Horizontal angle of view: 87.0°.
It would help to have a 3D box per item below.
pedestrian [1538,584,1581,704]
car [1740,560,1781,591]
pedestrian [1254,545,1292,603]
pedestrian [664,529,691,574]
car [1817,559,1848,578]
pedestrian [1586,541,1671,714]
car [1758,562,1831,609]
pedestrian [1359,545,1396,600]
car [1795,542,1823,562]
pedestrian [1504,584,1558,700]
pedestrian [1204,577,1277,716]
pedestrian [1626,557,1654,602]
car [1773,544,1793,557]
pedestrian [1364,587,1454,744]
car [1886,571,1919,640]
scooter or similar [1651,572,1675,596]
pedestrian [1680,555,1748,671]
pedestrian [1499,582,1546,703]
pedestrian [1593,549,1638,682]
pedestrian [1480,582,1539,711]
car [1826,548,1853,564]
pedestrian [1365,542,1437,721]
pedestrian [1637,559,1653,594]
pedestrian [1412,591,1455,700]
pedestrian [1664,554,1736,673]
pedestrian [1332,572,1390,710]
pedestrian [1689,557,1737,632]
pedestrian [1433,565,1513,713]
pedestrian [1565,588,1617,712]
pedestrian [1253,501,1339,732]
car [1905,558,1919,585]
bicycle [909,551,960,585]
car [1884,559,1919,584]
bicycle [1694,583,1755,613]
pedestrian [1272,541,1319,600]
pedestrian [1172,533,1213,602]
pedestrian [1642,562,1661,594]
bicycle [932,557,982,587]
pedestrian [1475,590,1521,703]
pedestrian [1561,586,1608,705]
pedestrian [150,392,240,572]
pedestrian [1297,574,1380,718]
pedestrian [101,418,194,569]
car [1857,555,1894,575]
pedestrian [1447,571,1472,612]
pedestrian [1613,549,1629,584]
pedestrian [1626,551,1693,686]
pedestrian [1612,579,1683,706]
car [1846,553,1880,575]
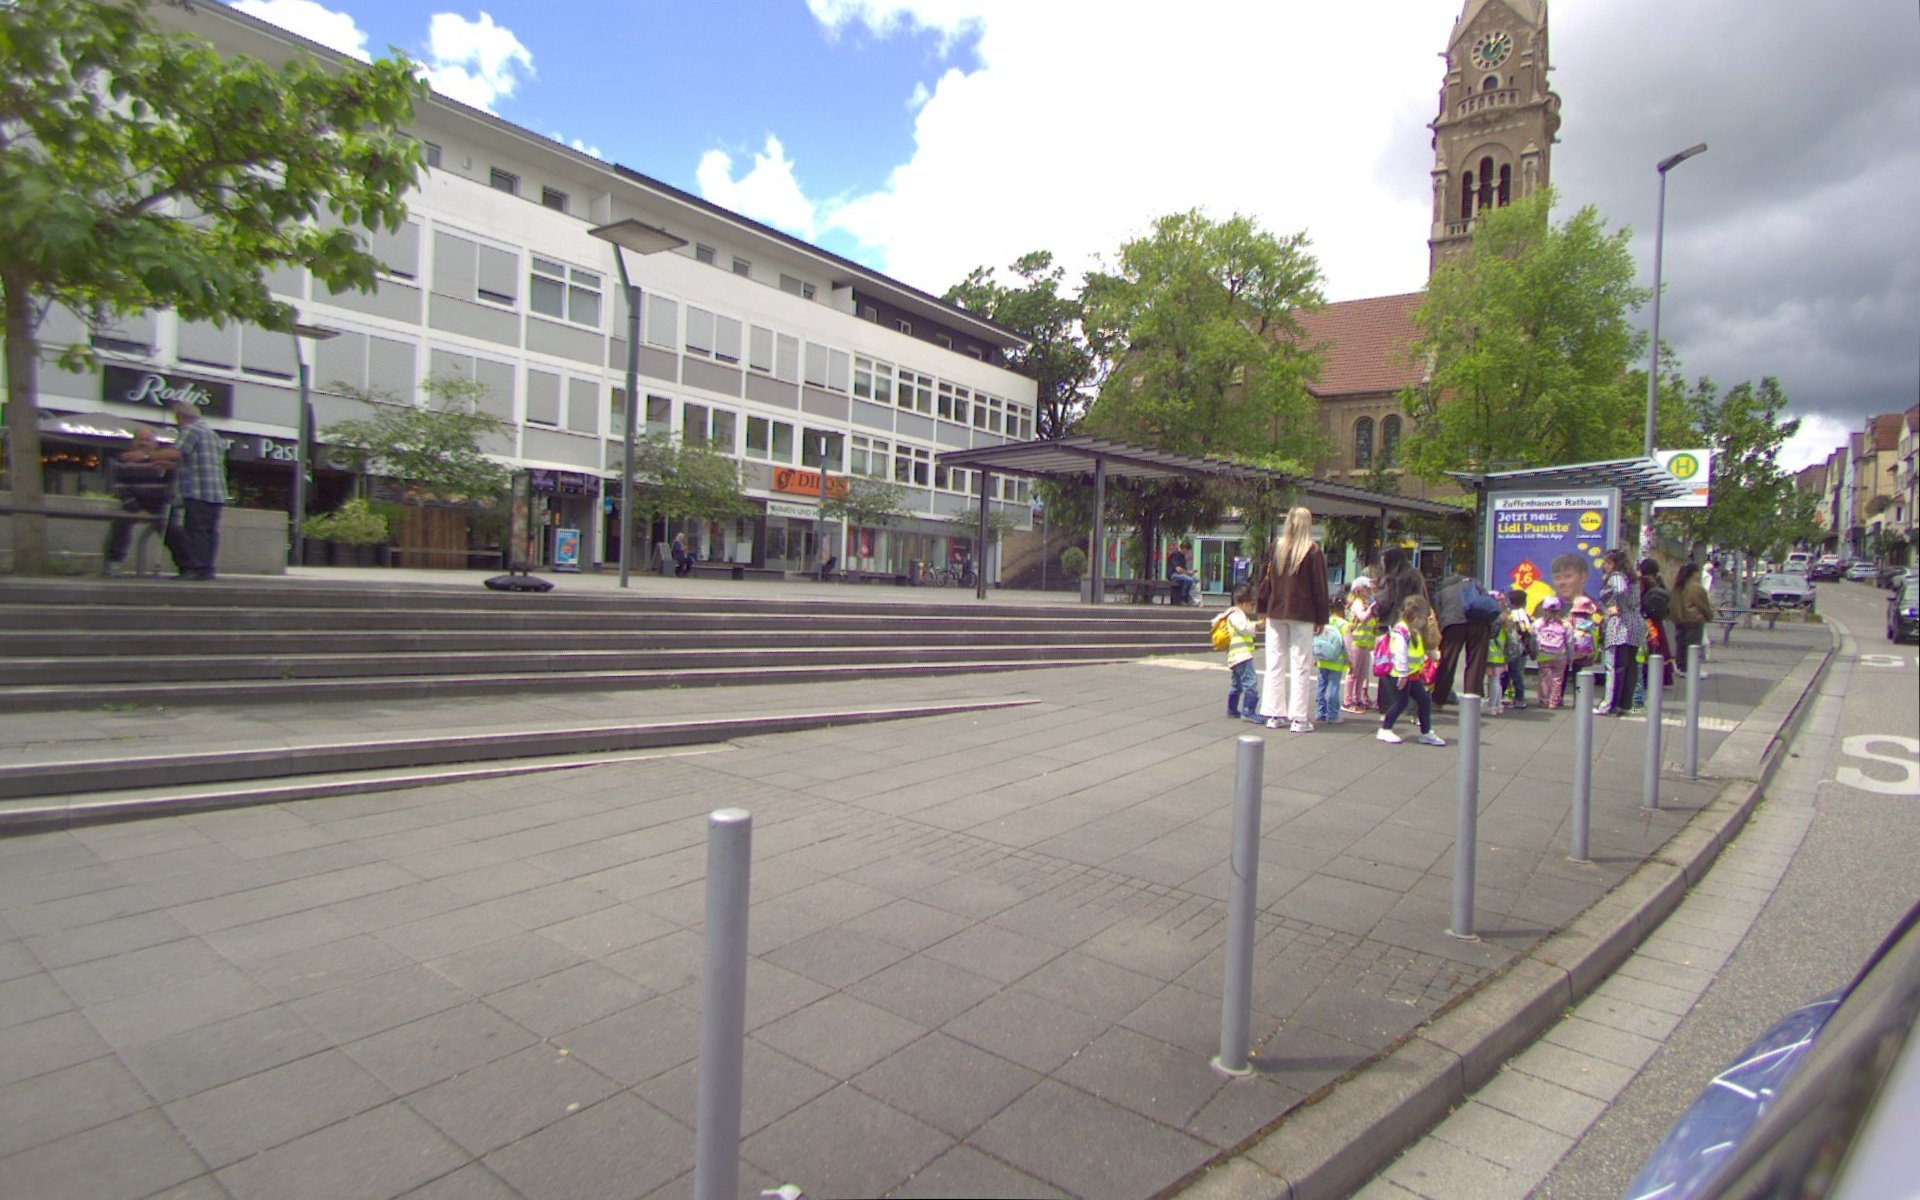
[{"bbox_3d":[6.025,0.432,10.175,0.261,1.175,0.269,3,3,21],"label":"pedestrian"},{"bbox_3d":[54.315,-1.696,68.608,1.884,1.869,4.958,4,5,41],"label":"car"},{"bbox_3d":[6.755,-0.558,21.842,0.556,1.243,0.569,0,1,-38],"label":"pedestrian"},{"bbox_3d":[-8.477,-1.452,30.369,0.561,1.340,0.543,1,1,16],"label":"pedestrian"},{"bbox_3d":[68.003,-2.480,78.911,1.604,1.405,3.580,4,4,38],"label":"car"},{"bbox_3d":[6.507,0.257,9.867,0.460,1.639,0.388,2,3,1],"label":"pedestrian"},{"bbox_3d":[34.040,-0.645,41.399,1.923,1.745,4.516,4,4,36],"label":"car"},{"bbox_3d":[10.376,-0.678,25.154,0.537,1.323,0.624,0,2,-43],"label":"pedestrian"},{"bbox_3d":[79.972,-4.516,95.334,1.743,1.824,4.156,5,5,37],"label":"car"},{"bbox_3d":[5.964,0.430,10.581,0.313,1.166,0.321,2,3,3],"label":"pedestrian"},{"bbox_3d":[2.456,0.393,8.876,0.376,1.162,0.440,0,3,-42],"label":"pedestrian"},{"bbox_3d":[27.315,-0.814,40.646,0.760,1.751,0.589,5,4,41],"label":"pedestrian"},{"bbox_3d":[105.152,-6.358,129.334,1.677,1.518,4.102,3,5,36],"label":"car"},{"bbox_3d":[3.574,0.510,8.074,0.467,1.186,0.391,2,3,-2],"label":"pedestrian"},{"bbox_3d":[24.906,0.109,25.509,1.884,1.542,3.689,0,3,36],"label":"car"},{"bbox_3d":[34.211,-0.776,49.224,0.551,1.085,0.813,-2,4,-41],"label":"scooter or similar"},{"bbox_3d":[10.445,0.166,14.030,0.477,1.568,0.515,1,2,-22],"label":"pedestrian"},{"bbox_3d":[5.652,0.420,10.176,0.247,1.188,0.251,2,3,1],"label":"pedestrian"},{"bbox_3d":[8.034,0.178,12.416,0.392,1.585,0.348,3,2,33],"label":"pedestrian"},{"bbox_3d":[5.247,0.438,9.679,0.330,1.180,0.350,3,4,11],"label":"pedestrian"},{"bbox_3d":[86.498,-4.329,99.535,1.681,1.542,3.485,3,5,36],"label":"car"},{"bbox_3d":[3.923,0.262,9.004,0.383,1.535,0.390,0,3,-41],"label":"pedestrian"},{"bbox_3d":[33.652,-1.150,49.715,0.498,1.665,0.474,-2,4,-41],"label":"pedestrian"},{"bbox_3d":[4.812,0.454,10.288,0.247,1.082,0.251,0,3,-37],"label":"pedestrian"},{"bbox_3d":[10.026,0.169,13.729,0.477,1.568,0.544,1,2,-4],"label":"pedestrian"},{"bbox_3d":[3.762,0.370,9.495,0.329,1.252,0.323,0,4,-44],"label":"pedestrian"},{"bbox_3d":[17.531,-0.130,23.573,0.701,1.702,0.686,0,2,-37],"label":"pedestrian"},{"bbox_3d":[4.841,0.351,9.583,0.426,1.319,0.598,3,3,8],"label":"pedestrian"},{"bbox_3d":[6.095,0.476,9.786,0.243,1.166,0.276,2,3,-2],"label":"pedestrian"},{"bbox_3d":[2.794,0.116,8.413,0.536,1.845,0.432,4,3,25],"label":"pedestrian"},{"bbox_3d":[60.204,-1.779,62.688,1.719,1.592,4.402,1,4,34],"label":"car"},{"bbox_3d":[-1.046,-1.338,42.100,1.994,1.323,0.686,3,2,10],"label":"bicycle"},{"bbox_3d":[64.200,-1.933,68.662,1.658,1.544,3.917,0,3,34],"label":"car"},{"bbox_3d":[27.989,-0.084,37.063,1.721,1.008,0.341,4,3,34],"label":"bicycle"},{"bbox_3d":[7.419,-0.651,22.391,0.662,1.285,0.772,0,1,-17],"label":"pedestrian"},{"bbox_3d":[4.589,-0.641,19.984,0.535,1.340,0.569,0,1,-38],"label":"pedestrian"},{"bbox_3d":[33.486,-1.078,49.000,0.573,1.542,0.590,0,3,-39],"label":"pedestrian"},{"bbox_3d":[-0.138,-1.201,43.198,1.994,1.156,0.686,4,2,10],"label":"bicycle"},{"bbox_3d":[5.293,0.449,9.966,0.246,1.082,0.252,1,3,-31],"label":"pedestrian"},{"bbox_3d":[6.365,0.453,10.320,0.290,1.166,0.296,3,3,21],"label":"pedestrian"},{"bbox_3d":[-6.766,-1.019,8.966,0.445,1.527,0.505,1,1,-12],"label":"pedestrian"},{"bbox_3d":[3.322,0.396,8.895,0.500,1.213,0.392,1,3,-23],"label":"pedestrian"},{"bbox_3d":[-7.399,-0.948,9.221,0.630,1.301,0.363,1,1,-43],"label":"pedestrian"},{"bbox_3d":[72.032,-2.808,79.671,1.723,1.448,3.459,2,4,36],"label":"car"},{"bbox_3d":[13.709,-0.230,27.770,0.362,1.102,0.476,3,0,-44],"label":"pedestrian"},{"bbox_3d":[31.949,-1.629,48.947,0.498,1.665,0.474,-2,4,-41],"label":"pedestrian"},{"bbox_3d":[8.458,0.210,12.253,0.495,1.585,0.494,2,2,21],"label":"pedestrian"},{"bbox_3d":[6.954,0.418,10.242,0.380,1.241,0.405,1,2,-26],"label":"pedestrian"},{"bbox_3d":[76.187,-3.063,85.412,1.723,1.700,3.942,2,4,36],"label":"car"}]
